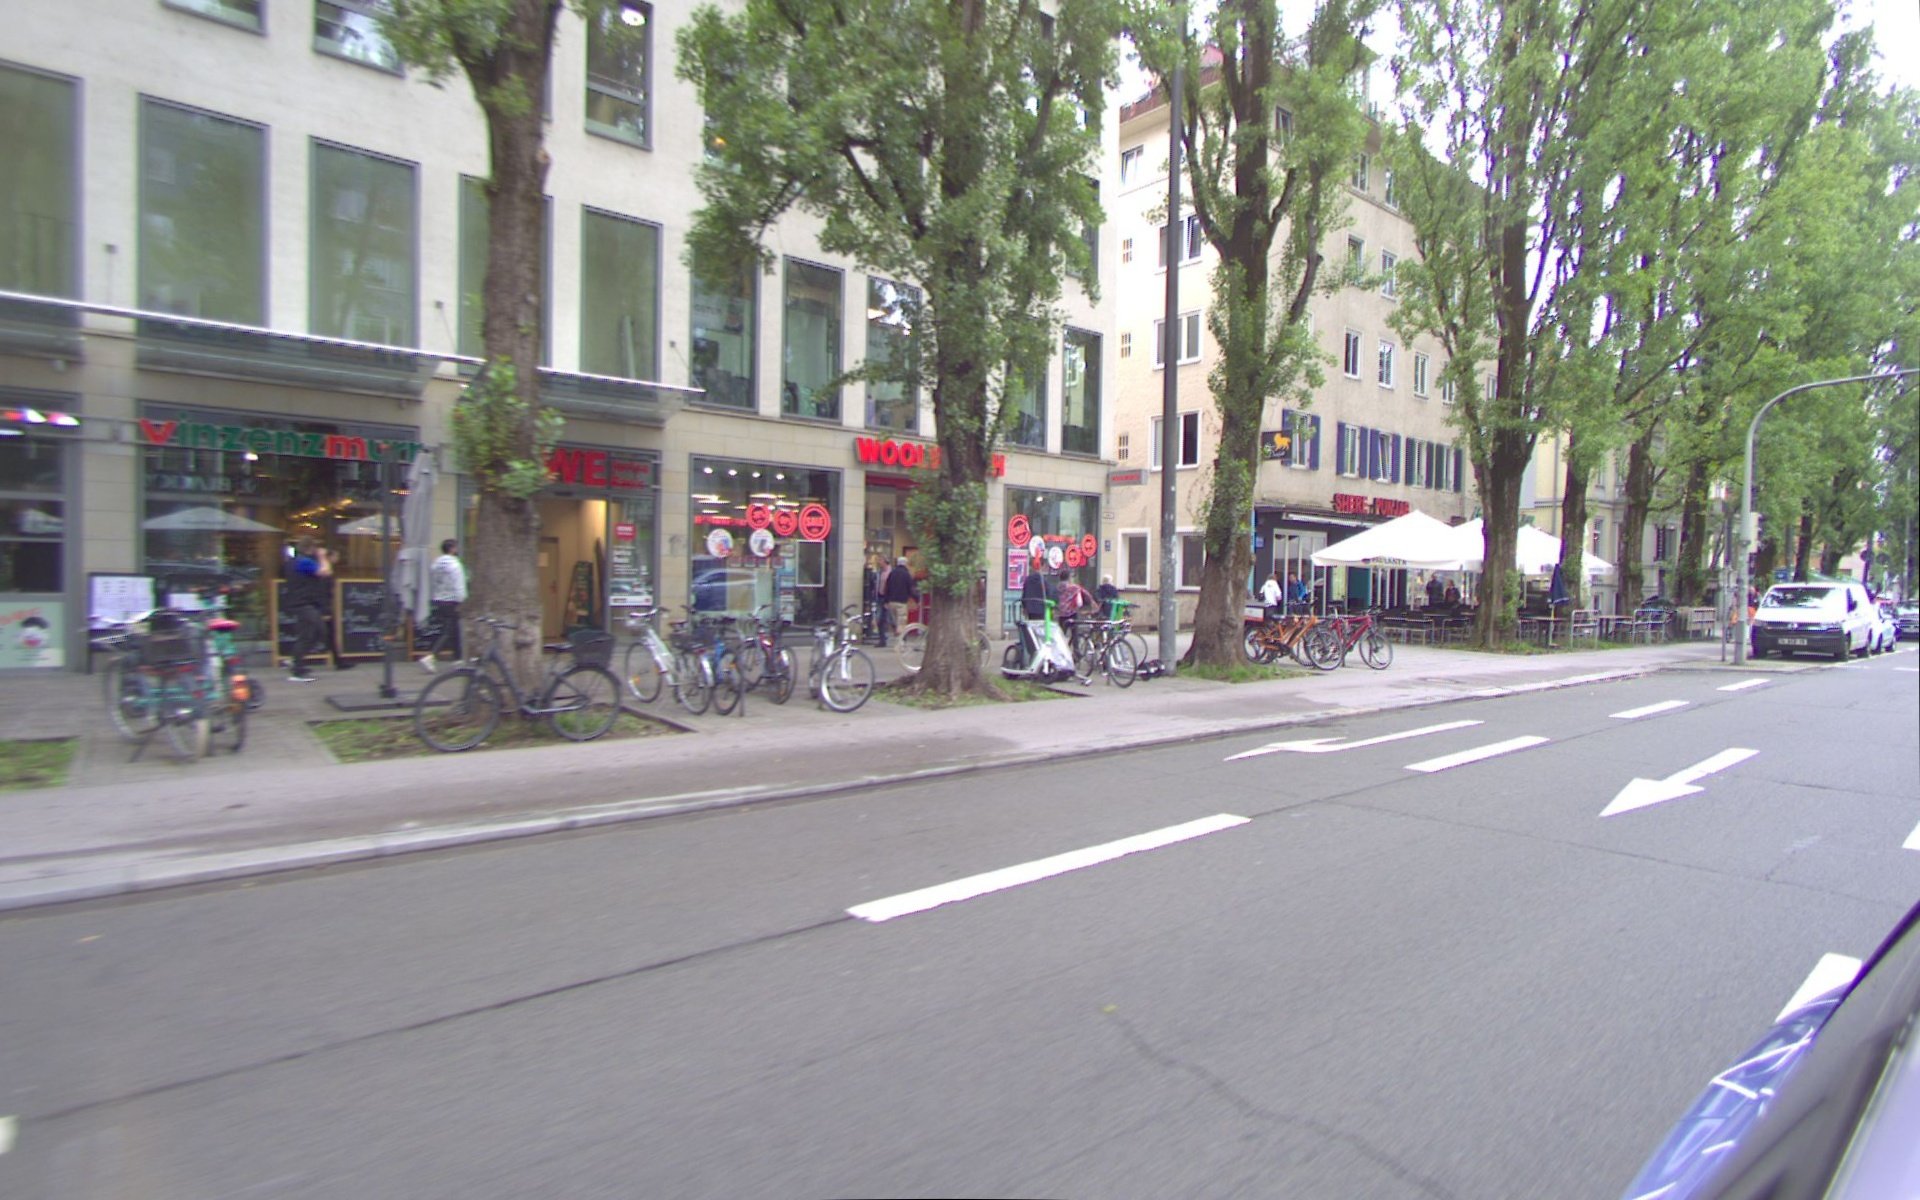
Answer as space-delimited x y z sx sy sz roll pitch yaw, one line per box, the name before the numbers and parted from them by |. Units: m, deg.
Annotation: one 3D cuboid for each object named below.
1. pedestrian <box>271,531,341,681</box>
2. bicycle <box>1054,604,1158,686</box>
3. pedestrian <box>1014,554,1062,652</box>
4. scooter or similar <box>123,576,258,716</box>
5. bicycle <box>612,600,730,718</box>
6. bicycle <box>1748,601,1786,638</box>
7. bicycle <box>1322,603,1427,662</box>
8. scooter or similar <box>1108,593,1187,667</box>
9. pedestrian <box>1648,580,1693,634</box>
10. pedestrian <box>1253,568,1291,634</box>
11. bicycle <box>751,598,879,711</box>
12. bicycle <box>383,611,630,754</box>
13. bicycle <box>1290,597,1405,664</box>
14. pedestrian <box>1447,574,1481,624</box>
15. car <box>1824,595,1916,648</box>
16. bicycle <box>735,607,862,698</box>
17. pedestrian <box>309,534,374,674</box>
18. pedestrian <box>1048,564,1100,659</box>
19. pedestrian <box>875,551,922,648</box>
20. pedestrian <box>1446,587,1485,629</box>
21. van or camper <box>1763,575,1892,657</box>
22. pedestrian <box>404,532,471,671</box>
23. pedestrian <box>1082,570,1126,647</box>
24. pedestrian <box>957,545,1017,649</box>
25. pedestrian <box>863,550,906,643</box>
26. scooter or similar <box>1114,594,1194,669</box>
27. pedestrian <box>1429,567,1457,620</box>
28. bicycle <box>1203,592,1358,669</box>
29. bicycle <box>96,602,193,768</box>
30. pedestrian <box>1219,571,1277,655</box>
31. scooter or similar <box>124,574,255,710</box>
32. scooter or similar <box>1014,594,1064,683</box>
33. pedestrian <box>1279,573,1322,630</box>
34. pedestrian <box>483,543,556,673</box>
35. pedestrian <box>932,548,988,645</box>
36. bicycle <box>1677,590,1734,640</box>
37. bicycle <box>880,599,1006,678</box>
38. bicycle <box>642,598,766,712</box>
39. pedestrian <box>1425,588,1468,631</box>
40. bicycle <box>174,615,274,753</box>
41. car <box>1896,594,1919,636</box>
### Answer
pedestrian | -8.148 0.060 12.603 0.661 1.807 0.658 0 1 -39
bicycle | 2.067 0.615 14.612 0.385 1.022 1.848 1 2 -31
pedestrian | 1.446 0.049 18.767 0.684 1.764 0.566 0 0 -37
scooter or similar | -7.398 0.416 9.750 1.018 1.289 0.248 0 1 -40
bicycle | -3.098 0.588 10.772 1.670 1.131 0.282 2 1 39
bicycle | 25.353 0.605 31.791 2.462 1.091 0.568 0 1 -43
bicycle | 7.935 0.601 19.462 0.494 1.022 1.844 0 1 -39
scooter or similar | 3.063 0.483 16.558 1.220 1.184 0.307 0 0 -1
pedestrian | 23.730 0.228 33.817 0.819 1.788 0.945 1 0 -2
pedestrian | 8.096 0.015 26.285 0.680 1.685 0.667 0 0 -41
bicycle | -1.689 0.582 11.552 1.864 1.149 0.335 2 1 42
bicycle | -3.882 0.658 8.827 0.433 1.074 1.976 2 1 39
bicycle | 7.210 0.543 18.901 0.674 1.141 1.902 0 1 -39
pedestrian | 16.473 -0.032 33.051 0.858 1.597 0.696 0 0 -40
car | 26.386 0.592 29.317 3.421 1.414 1.475 0 1 -40
bicycle | -2.020 0.609 12.456 1.997 1.000 0.387 1 1 43
pedestrian | -8.225 0.046 13.456 0.661 1.807 0.566 0 1 -39
pedestrian | 2.046 0.200 18.177 0.737 1.669 0.548 0 0 -37
pedestrian | -1.150 -0.013 18.941 0.630 1.790 0.595 0 0 -37
pedestrian | 15.339 0.241 30.729 1.004 1.231 0.668 0 0 -37
van or camper | 22.422 0.362 26.106 4.484 1.929 1.795 0 1 -40
pedestrian | -7.136 0.009 13.818 0.679 1.842 0.622 0 1 -42
pedestrian | 2.965 0.168 20.821 0.684 1.539 0.566 0 0 -37
pedestrian | 0.500 -0.070 19.034 0.806 1.893 0.754 0 1 -37
pedestrian | -1.477 -0.068 19.878 0.630 1.790 0.547 0 0 -40
scooter or similar | 3.090 0.494 16.131 1.221 1.184 0.286 0 0 2
pedestrian | 16.077 -0.227 33.682 0.668 1.741 0.629 0 0 -40
bicycle | 5.750 0.499 18.338 0.948 1.230 2.577 0 2 -39
bicycle | -6.341 0.595 7.834 1.998 1.096 0.281 2 1 42
pedestrian | 5.730 0.243 20.170 0.778 1.608 0.712 1 2 -33
scooter or similar | -7.665 0.394 10.085 1.018 1.289 0.331 0 1 -40
scooter or similar | 1.108 0.525 14.405 0.395 1.184 1.247 0 1 -11
pedestrian | 9.824 0.035 29.193 0.998 1.624 0.764 0 0 -40
pedestrian | -6.066 0.091 13.928 0.655 1.731 0.682 2 1 38
pedestrian | 0.004 -0.078 20.128 0.806 1.877 0.753 0 0 -39
bicycle | 22.621 0.431 30.755 0.819 1.429 2.579 1 1 24
bicycle | -0.219 0.535 14.846 1.968 1.076 0.393 0 2 -37
bicycle | -2.824 0.566 11.070 1.658 1.121 0.391 2 1 39
pedestrian | 14.479 0.270 30.094 1.004 1.231 0.775 0 0 -37
bicycle | -6.130 0.647 8.389 1.998 0.957 0.281 2 1 43
car | 36.407 0.551 37.920 3.538 1.546 1.475 0 1 -40
